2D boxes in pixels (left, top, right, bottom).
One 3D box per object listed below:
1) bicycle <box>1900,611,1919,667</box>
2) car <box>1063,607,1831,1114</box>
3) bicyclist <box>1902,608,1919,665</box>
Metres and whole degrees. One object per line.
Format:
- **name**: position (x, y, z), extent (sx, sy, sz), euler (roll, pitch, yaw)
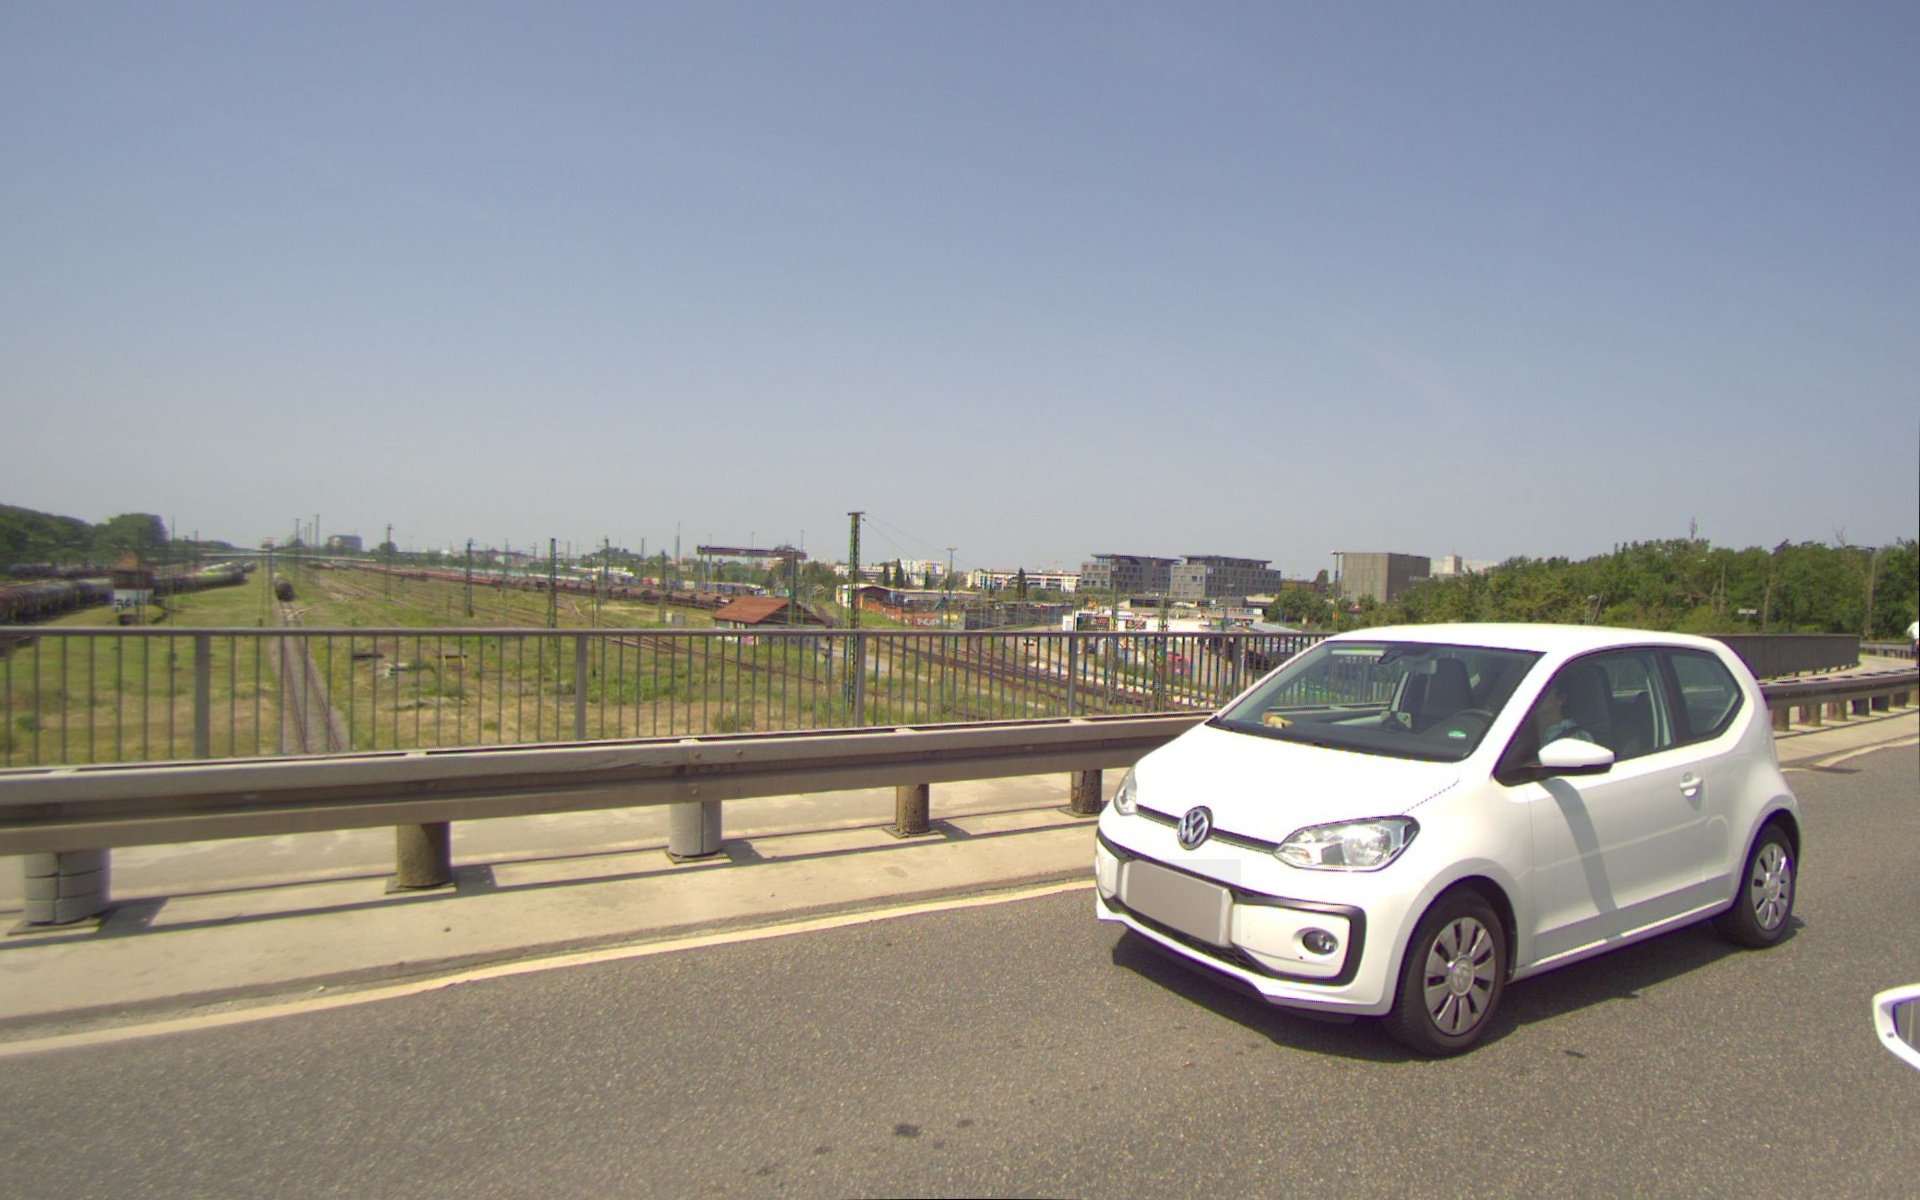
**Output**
- **bicycle**: position (32.220, 1.300, 33.831), extent (0.690, 1.826, 2.170), euler (1, 1, 41)
- **car**: position (2.340, 0.800, 4.640), extent (3.449, 1.483, 1.655), euler (1, 1, -33)
- **bicyclist**: position (32.372, 1.224, 34.013), extent (0.617, 1.911, 0.709), euler (1, 1, 41)
